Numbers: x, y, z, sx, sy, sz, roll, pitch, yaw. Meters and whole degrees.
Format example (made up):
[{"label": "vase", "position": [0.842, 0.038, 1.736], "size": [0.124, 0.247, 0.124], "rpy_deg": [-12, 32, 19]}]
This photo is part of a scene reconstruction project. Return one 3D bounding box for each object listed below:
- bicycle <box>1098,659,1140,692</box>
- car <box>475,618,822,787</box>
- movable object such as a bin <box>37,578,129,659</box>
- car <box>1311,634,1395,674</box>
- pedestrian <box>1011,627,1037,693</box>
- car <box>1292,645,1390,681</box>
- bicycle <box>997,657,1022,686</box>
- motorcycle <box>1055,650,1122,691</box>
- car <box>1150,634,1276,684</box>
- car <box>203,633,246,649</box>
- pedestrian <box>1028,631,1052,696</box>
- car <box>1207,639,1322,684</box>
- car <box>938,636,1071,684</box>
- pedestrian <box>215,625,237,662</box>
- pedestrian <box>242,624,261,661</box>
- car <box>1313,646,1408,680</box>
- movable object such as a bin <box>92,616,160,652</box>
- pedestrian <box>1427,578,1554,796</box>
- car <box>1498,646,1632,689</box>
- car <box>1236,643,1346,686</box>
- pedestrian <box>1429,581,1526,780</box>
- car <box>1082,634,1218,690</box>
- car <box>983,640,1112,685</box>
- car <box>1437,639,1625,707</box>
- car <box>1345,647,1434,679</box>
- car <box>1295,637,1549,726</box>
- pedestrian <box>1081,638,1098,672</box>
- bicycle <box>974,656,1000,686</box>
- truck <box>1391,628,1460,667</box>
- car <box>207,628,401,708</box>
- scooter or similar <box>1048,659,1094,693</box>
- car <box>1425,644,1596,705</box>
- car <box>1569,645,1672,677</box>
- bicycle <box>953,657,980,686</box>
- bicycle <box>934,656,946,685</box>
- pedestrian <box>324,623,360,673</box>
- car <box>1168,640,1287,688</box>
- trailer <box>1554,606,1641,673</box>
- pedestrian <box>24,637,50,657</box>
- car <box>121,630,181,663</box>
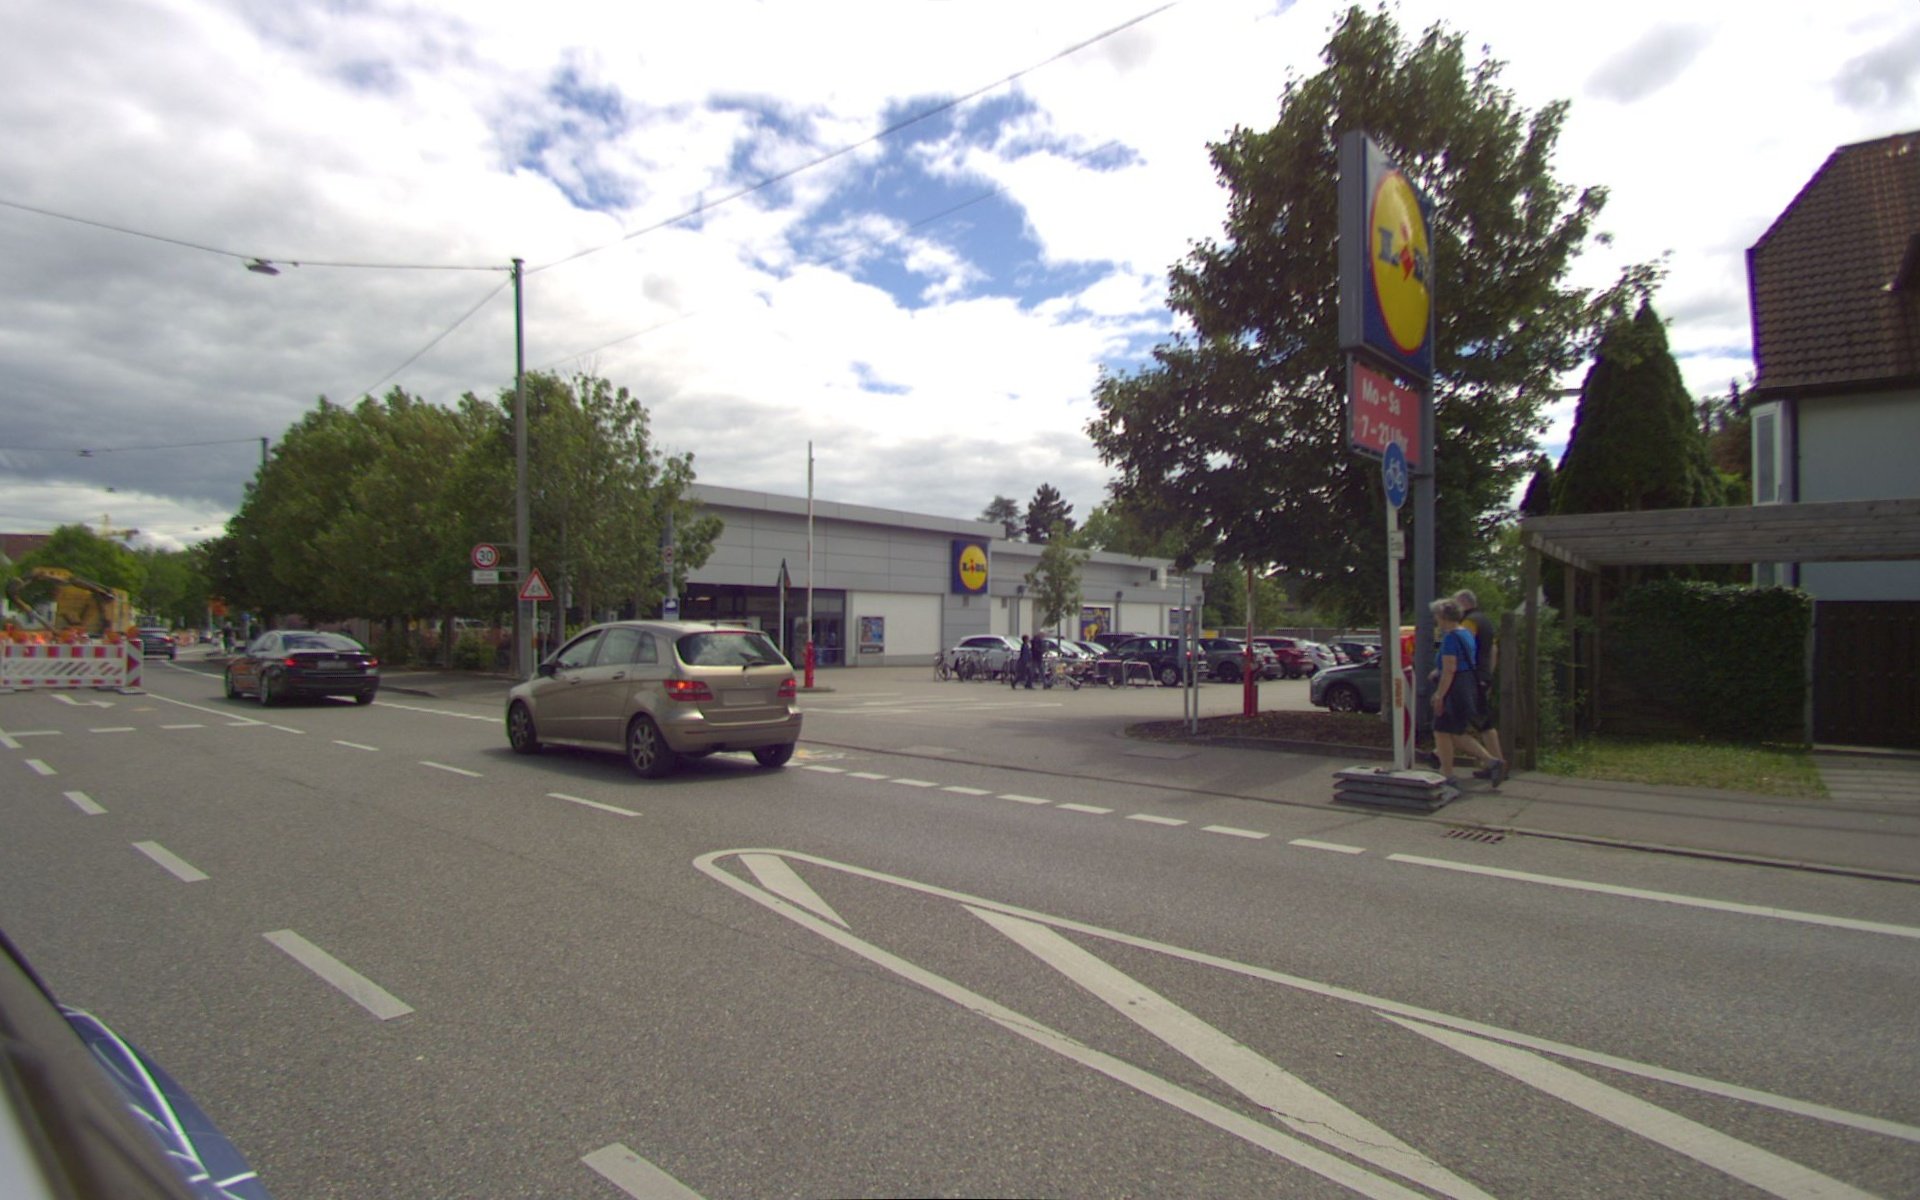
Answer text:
[{"label": "bicycle", "position": [4.792, 2.269, 30.432], "size": [1.631, 0.964, 0.314], "rpy_deg": [3, -4, -43]}, {"label": "car", "position": [-3.689, 1.030, 11.561], "size": [4.400, 1.567, 1.731], "rpy_deg": [-1, -3, 41]}, {"label": "movable object such as a bin", "position": [-50.423, 1.178, 58.459], "size": [2.556, 4.254, 11.149], "rpy_deg": [3, -3, -34]}, {"label": "car", "position": [25.466, 3.482, 65.698], "size": [4.696, 2.413, 1.973], "rpy_deg": [-1, -3, 40]}, {"label": "pedestrian", "position": [1.860, 1.722, 29.306], "size": [0.611, 1.873, 0.417], "rpy_deg": [-1, -3, 39]}, {"label": "car", "position": [18.266, 3.003, 48.623], "size": [3.998, 1.596, 1.972], "rpy_deg": [-1, -3, 41]}, {"label": "bicycle", "position": [1.700, 2.413, 34.367], "size": [0.346, 0.964, 1.873], "rpy_deg": [0, -3, 18]}, {"label": "motorcycle", "position": [3.998, 2.185, 31.517], "size": [1.926, 1.202, 0.862], "rpy_deg": [1, -3, -4]}, {"label": "car", "position": [9.180, 2.106, 36.859], "size": [3.998, 1.708, 1.972], "rpy_deg": [-1, -3, 41]}, {"label": "car", "position": [-67.745, 3.770, 93.294], "size": [1.829, 1.464, 4.011], "rpy_deg": [0, -1, -14]}, {"label": "pedestrian", "position": [2.361, 1.868, 29.938], "size": [0.607, 1.873, 0.419], "rpy_deg": [0, -3, 21]}, {"label": "car", "position": [12.296, 2.449, 40.953], "size": [3.998, 1.708, 1.972], "rpy_deg": [-1, -3, 41]}, {"label": "car", "position": [1.590, 2.168, 37.123], "size": [4.670, 1.584, 1.973], "rpy_deg": [-1, -3, 40]}, {"label": "pedestrian", "position": [-37.159, 2.219, 51.242], "size": [0.685, 1.861, 0.624], "rpy_deg": [1, -3, -20]}, {"label": "pedestrian", "position": [-35.942, 2.177, 51.330], "size": [0.616, 1.861, 0.624], "rpy_deg": [1, -3, -20]}, {"label": "car", "position": [19.996, 3.125, 50.625], "size": [3.998, 1.596, 1.972], "rpy_deg": [-1, -3, 41]}, {"label": "movable object such as a bin", "position": [-65.305, 2.686, 79.404], "size": [1.965, 2.646, 6.543], "rpy_deg": [2, -3, -20]}, {"label": "pedestrian", "position": [4.854, 0.761, 9.267], "size": [0.892, 1.868, 0.674], "rpy_deg": [-1, -3, 41]}, {"label": "car", "position": [21.990, 2.429, 36.851], "size": [3.994, 1.409, 1.975], "rpy_deg": [-1, -3, 37]}, {"label": "car", "position": [13.975, 2.700, 42.873], "size": [3.998, 1.708, 1.972], "rpy_deg": [-1, -3, 41]}, {"label": "pedestrian", "position": [5.095, 0.767, 9.972], "size": [0.706, 1.868, 0.674], "rpy_deg": [-1, -3, 41]}, {"label": "car", "position": [6.276, 2.020, 33.561], "size": [3.998, 1.708, 1.972], "rpy_deg": [-1, -3, 41]}, {"label": "car", "position": [3.305, 2.353, 38.842], "size": [4.670, 1.584, 1.973], "rpy_deg": [-1, -3, 40]}, {"label": "car", "position": [14.631, 1.825, 26.025], "size": [3.994, 1.564, 1.975], "rpy_deg": [-1, -3, 37]}, {"label": "car", "position": [22.922, 3.338, 54.111], "size": [3.998, 1.596, 1.972], "rpy_deg": [-1, -3, 41]}, {"label": "car", "position": [8.665, 1.465, 19.142], "size": [3.998, 1.464, 1.972], "rpy_deg": [-1, -3, 41]}, {"label": "pedestrian", "position": [6.207, 2.629, 48.527], "size": [0.606, 1.629, 0.499], "rpy_deg": [-1, -3, 40]}, {"label": "bicycle", "position": [0.927, 2.432, 34.759], "size": [0.346, 0.964, 1.873], "rpy_deg": [0, -3, 18]}, {"label": "truck", "position": [34.585, 3.533, 75.310], "size": [4.311, 2.792, 1.973], "rpy_deg": [-1, -3, 40]}, {"label": "car", "position": [-13.208, 1.310, 20.245], "size": [4.809, 1.410, 1.972], "rpy_deg": [-1, -4, 41]}, {"label": "scooter or similar", "position": [3.246, 2.221, 29.631], "size": [1.221, 0.950, 0.651], "rpy_deg": [0, -3, 22]}, {"label": "car", "position": [15.523, 2.049, 28.593], "size": [3.994, 1.564, 1.975], "rpy_deg": [-1, -3, 37]}, {"label": "car", "position": [31.551, 2.904, 48.347], "size": [3.994, 1.409, 1.975], "rpy_deg": [-1, -3, 37]}, {"label": "bicycle", "position": [0.234, 2.467, 35.166], "size": [0.346, 0.964, 1.873], "rpy_deg": [0, -3, 18]}, {"label": "bicycle", "position": [-0.709, 2.453, 35.527], "size": [0.344, 0.964, 1.886], "rpy_deg": [1, -3, -3]}, {"label": "pedestrian", "position": [-20.447, 1.571, 33.466], "size": [0.829, 1.615, 0.745], "rpy_deg": [-1, -3, 39]}, {"label": "car", "position": [10.307, 2.428, 39.070], "size": [3.998, 1.708, 1.972], "rpy_deg": [-1, -3, 41]}, {"label": "trailer", "position": [36.046, 2.270, 57.165], "size": [3.354, 3.513, 6.094], "rpy_deg": [-1, -4, 40]}, {"label": "pedestrian", "position": [-47.328, 2.409, 51.881], "size": [0.632, 0.998, 0.795], "rpy_deg": [1, -3, -10]}, {"label": "car", "position": [-39.341, 2.264, 49.187], "size": [1.833, 1.525, 4.002], "rpy_deg": [3, -3, -44]}]
